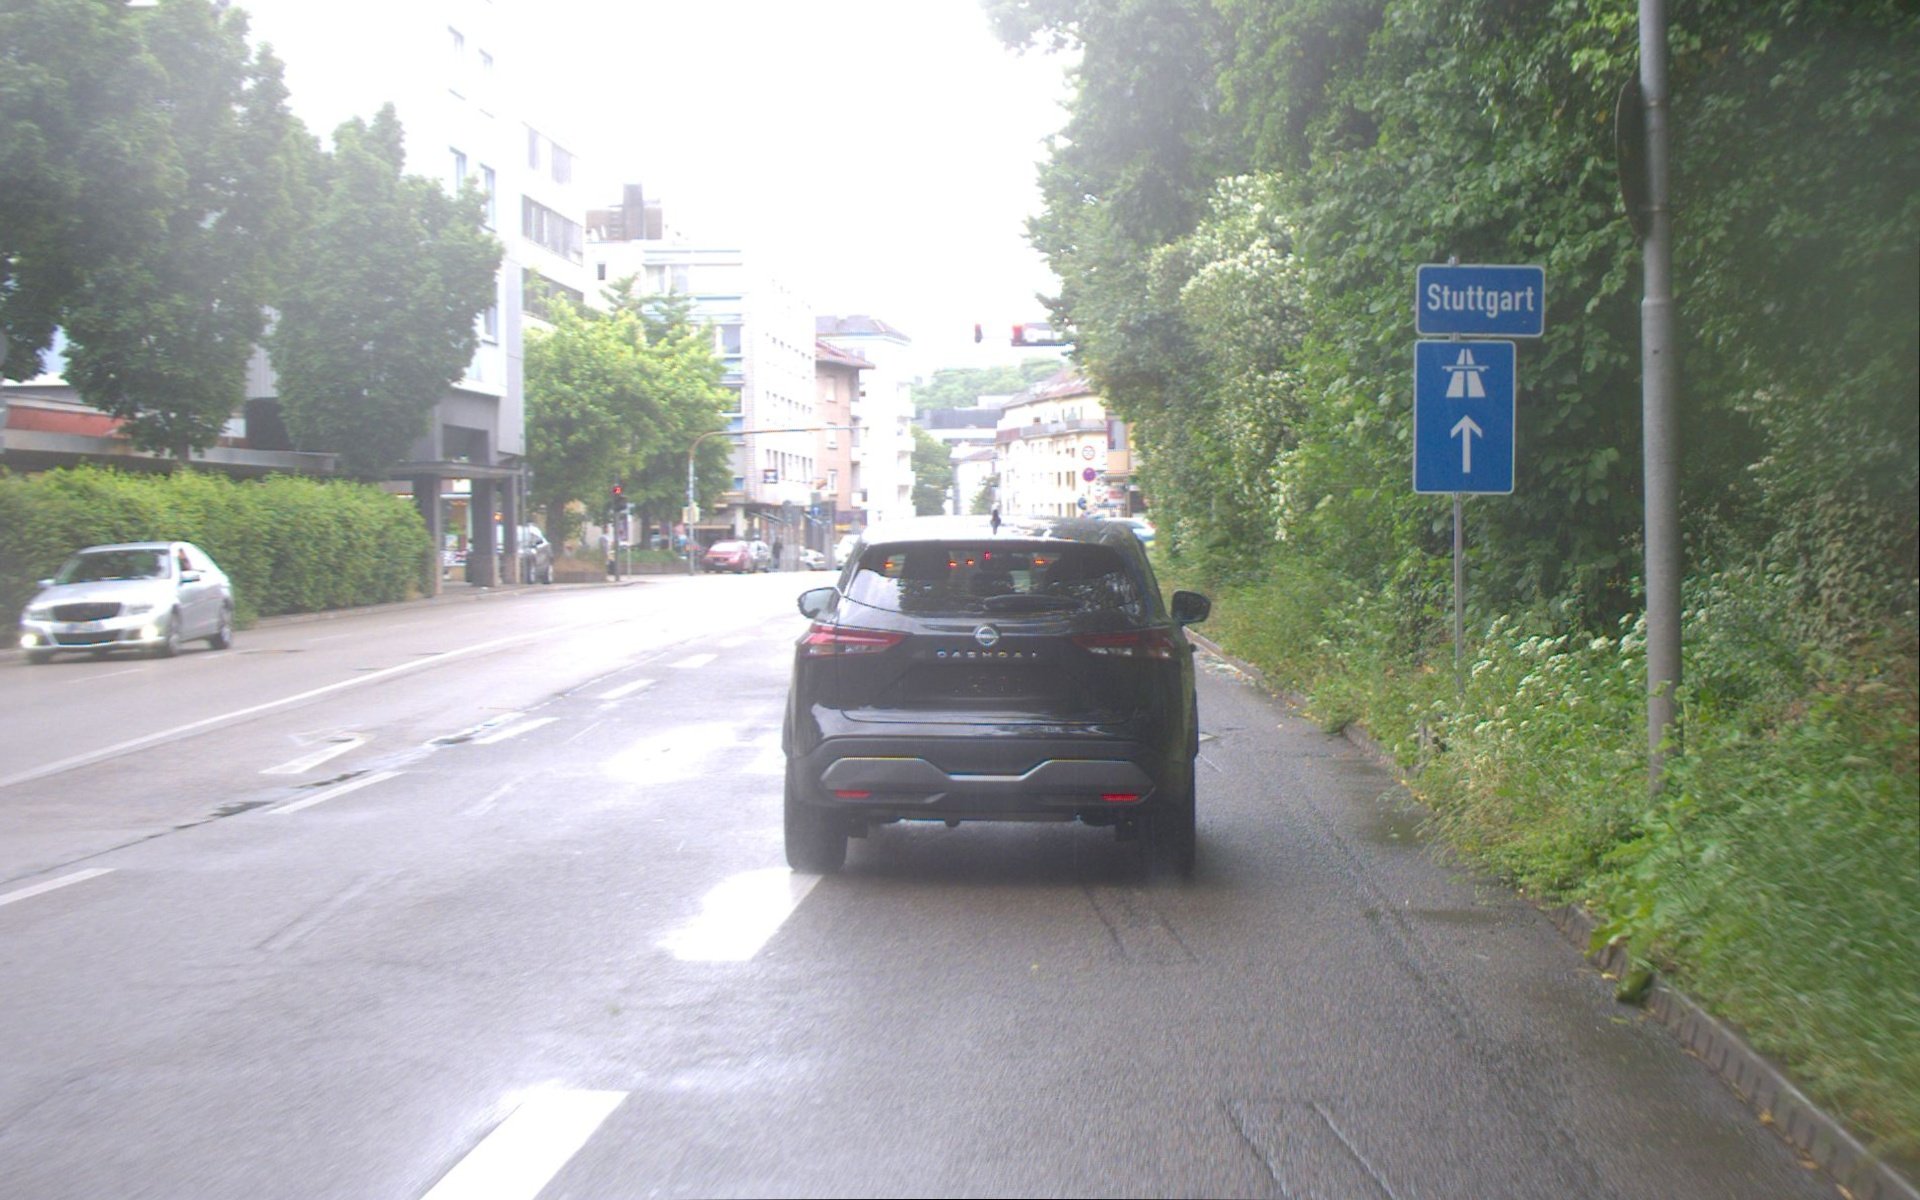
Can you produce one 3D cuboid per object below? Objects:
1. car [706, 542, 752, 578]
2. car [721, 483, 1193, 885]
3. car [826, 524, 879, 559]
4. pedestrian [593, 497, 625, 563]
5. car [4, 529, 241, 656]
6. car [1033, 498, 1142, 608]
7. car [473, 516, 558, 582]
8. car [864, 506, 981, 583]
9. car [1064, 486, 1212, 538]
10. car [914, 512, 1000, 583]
[{"bbox_3d":[-10.027,-1.739,149.540,1.672,1.473,3.608,-2,1,0],"label":"car"},{"bbox_3d":[0.037,0.285,16.393,1.959,1.647,4.000,-1,2,1],"label":"car"},{"bbox_3d":[-4.596,-2.493,145.936,1.993,1.448,4.001,-1,1,-5],"label":"car"},{"bbox_3d":[-10.891,-2.169,106.538,0.940,2.007,0.887,-1,1,-7],"label":"pedestrian"},{"bbox_3d":[-10.267,-0.135,42.478,1.874,1.386,4.627,-2,2,-2],"label":"car"},{"bbox_3d":[2.462,-0.918,65.659,1.994,2.007,4.000,-1,1,3],"label":"car"},{"bbox_3d":[-11.813,-1.373,91.560,1.539,1.700,4.287,0,1,2],"label":"car"},{"bbox_3d":[-0.702,-1.124,67.842,2.066,1.459,4.586,0,2,2],"label":"car"},{"bbox_3d":[6.207,-3.074,119.978,4.791,1.744,2.000,-1,2,-26],"label":"car"},{"bbox_3d":[-0.034,-1.159,75.572,1.744,1.482,4.162,-1,1,2],"label":"car"}]
